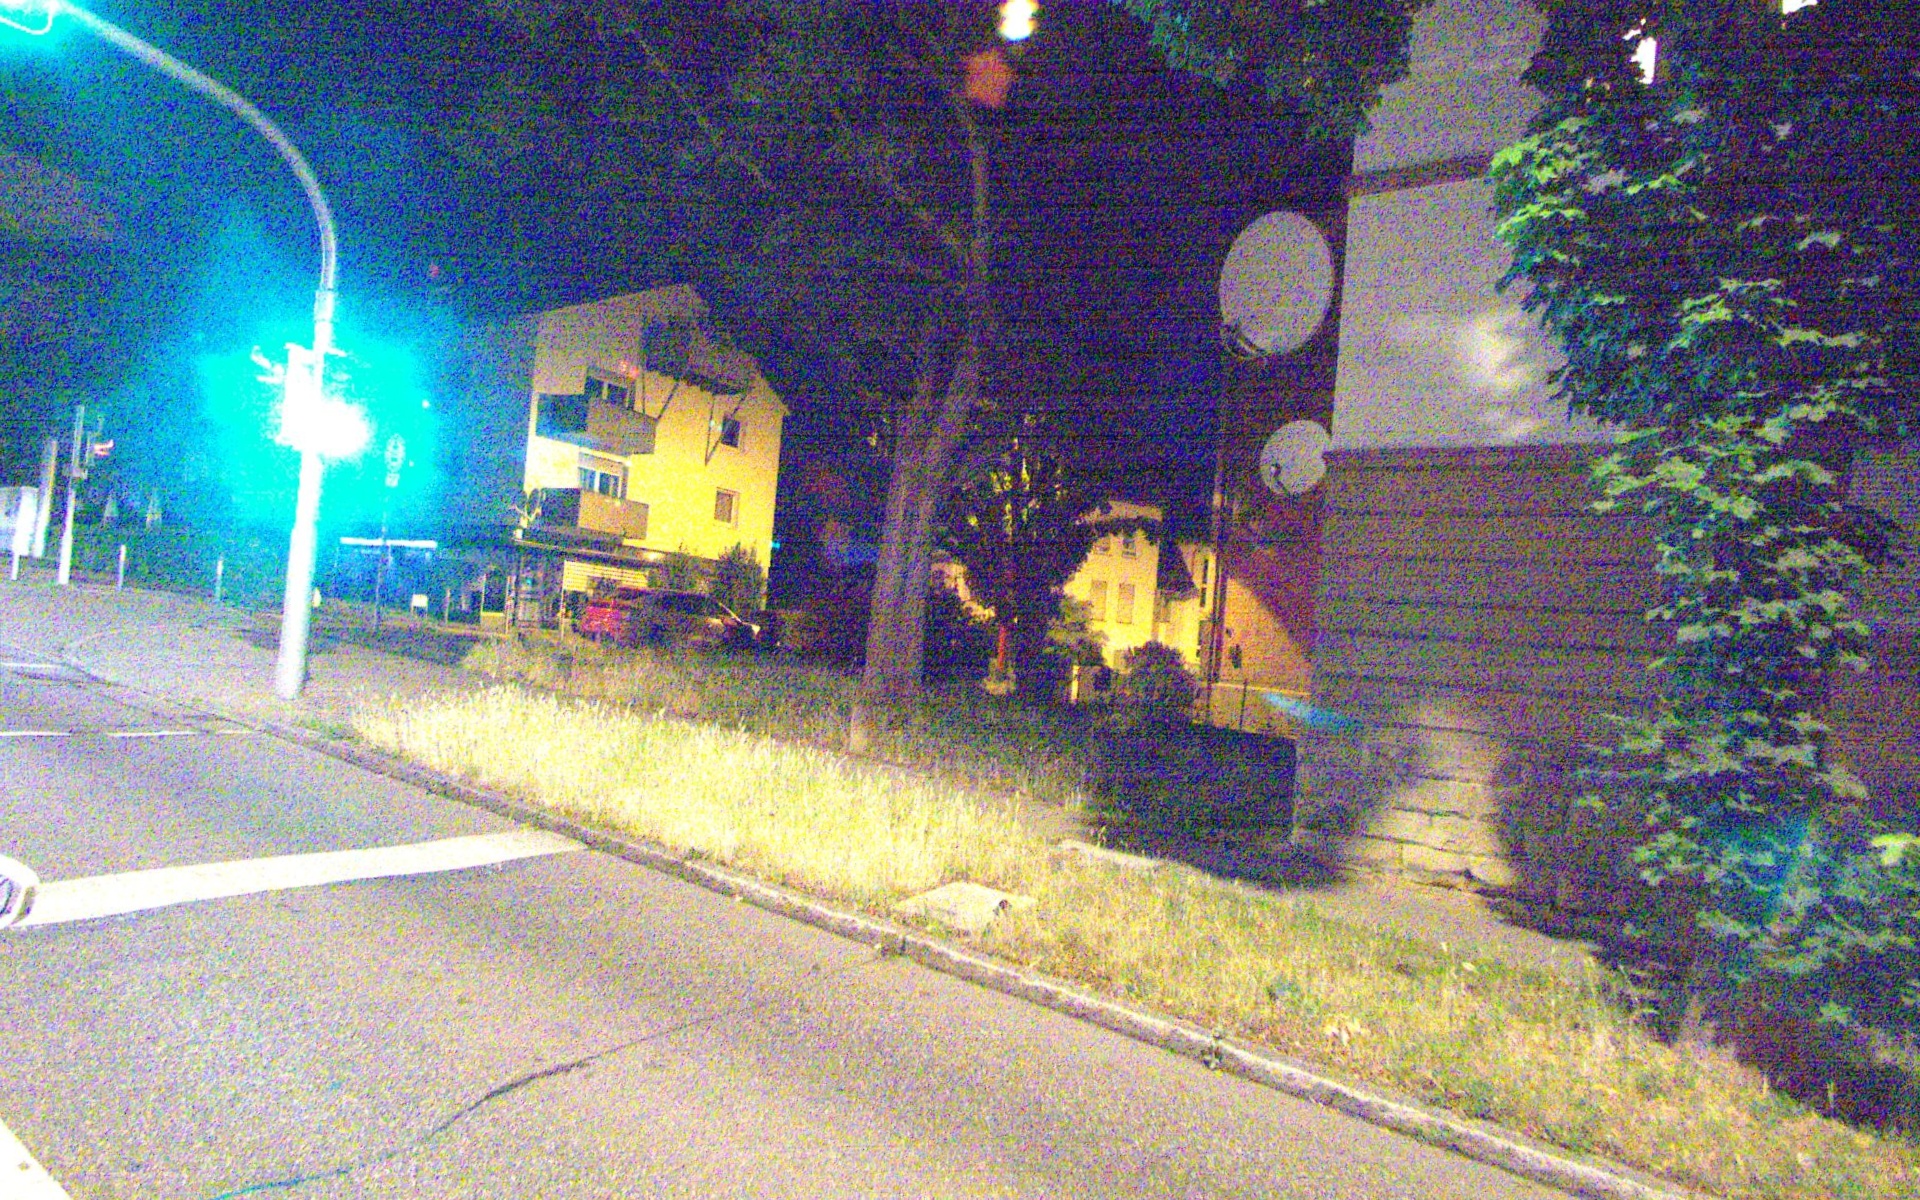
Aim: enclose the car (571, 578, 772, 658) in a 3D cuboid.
[{"bbox_3d":[-6.544,0.454,23.176,1.740,1.295,4.131,6,-3,39],"label":"car"}]
